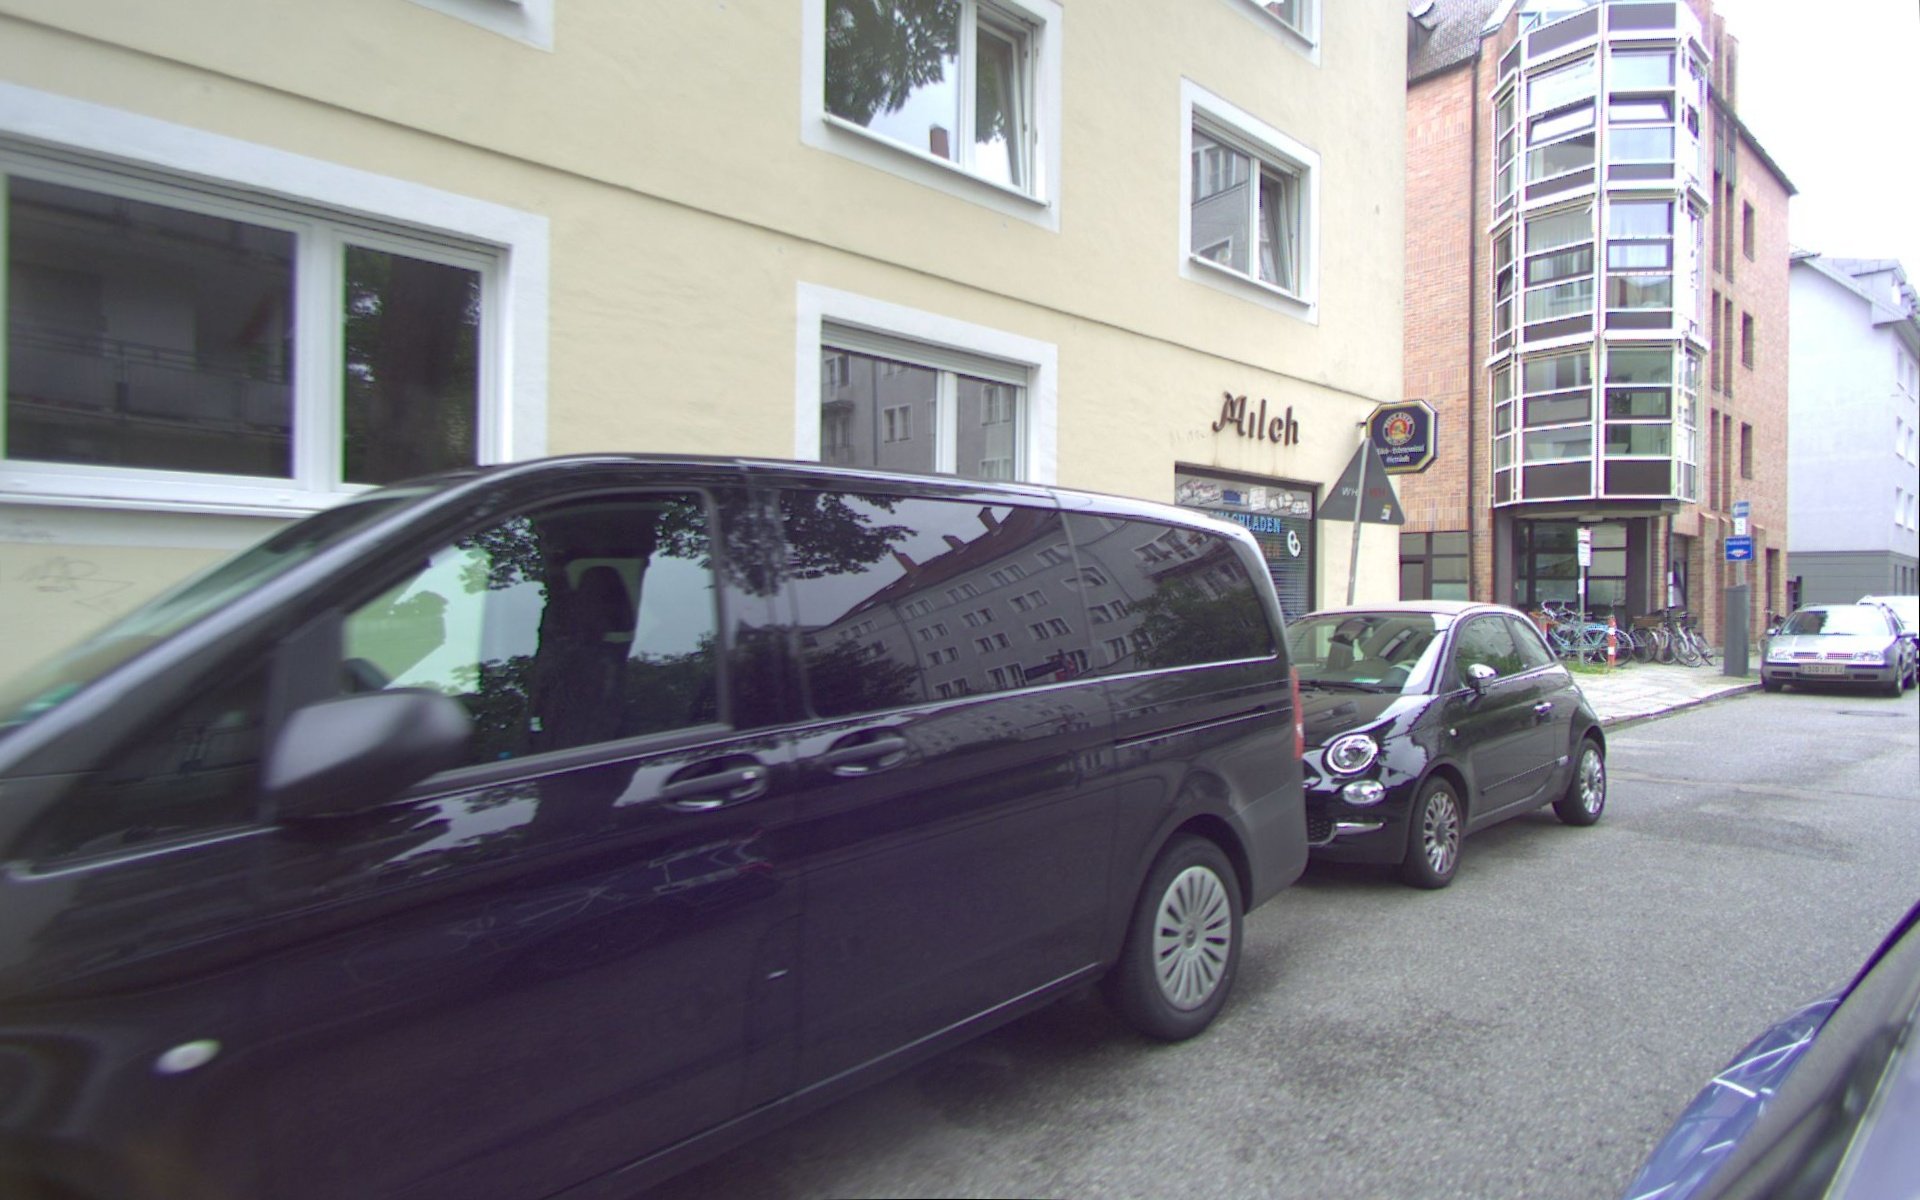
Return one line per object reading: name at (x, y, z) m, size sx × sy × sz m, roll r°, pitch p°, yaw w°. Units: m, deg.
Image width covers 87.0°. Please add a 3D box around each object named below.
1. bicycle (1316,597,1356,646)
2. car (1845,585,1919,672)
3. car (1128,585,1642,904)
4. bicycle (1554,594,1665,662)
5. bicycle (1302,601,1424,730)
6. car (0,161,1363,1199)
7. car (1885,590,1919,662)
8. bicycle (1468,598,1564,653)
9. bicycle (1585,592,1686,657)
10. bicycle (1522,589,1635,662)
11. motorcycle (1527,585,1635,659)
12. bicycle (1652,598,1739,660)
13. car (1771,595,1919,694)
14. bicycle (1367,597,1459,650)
bicycle at (8.843, 0.485, 23.831) m, size 0.434 × 1.086 × 1.426 m, roll 1°, pitch 1°, yaw 2°
car at (19.350, 0.528, 20.451) m, size 4.379 × 1.636 × 1.722 m, roll 0°, pitch -1°, yaw -42°
car at (2.856, 0.688, 6.507) m, size 3.475 × 1.490 × 1.637 m, roll 0°, pitch -1°, yaw -40°
bicycle at (12.565, 0.516, 19.633) m, size 0.434 × 1.201 × 1.755 m, roll 0°, pitch 2°, yaw -34°
bicycle at (4.373, 0.662, 10.924) m, size 1.787 × 1.229 × 0.410 m, roll -2°, pitch 4°, yaw -41°
car at (-0.857, 0.438, 3.071) m, size 4.803 × 2.002 × 1.992 m, roll 0°, pitch -2°, yaw -43°
car at (22.635, 0.567, 23.306) m, size 3.743 × 1.577 × 1.617 m, roll 0°, pitch -1°, yaw -42°
bicycle at (11.582, 0.509, 21.141) m, size 0.434 × 1.086 × 1.755 m, roll 0°, pitch 1°, yaw -34°
bicycle at (14.035, 0.482, 21.106) m, size 0.581 × 1.244 × 1.881 m, roll 0°, pitch 1°, yaw -11°
bicycle at (11.831, 0.462, 19.419) m, size 1.786 × 1.339 × 0.583 m, roll 0°, pitch 1°, yaw 25°
motorcycle at (12.639, 0.423, 20.632) m, size 1.761 × 1.402 × 0.543 m, roll 3°, pitch 2°, yaw 45°
bicycle at (15.428, 0.581, 21.223) m, size 1.743 × 1.232 × 0.744 m, roll 0°, pitch 1°, yaw -26°
car at (15.121, 0.654, 16.978) m, size 4.284 × 1.453 × 1.722 m, roll 0°, pitch -1°, yaw -42°
bicycle at (9.914, 0.488, 22.226) m, size 0.434 × 1.086 × 1.887 m, roll 0°, pitch 1°, yaw -34°
